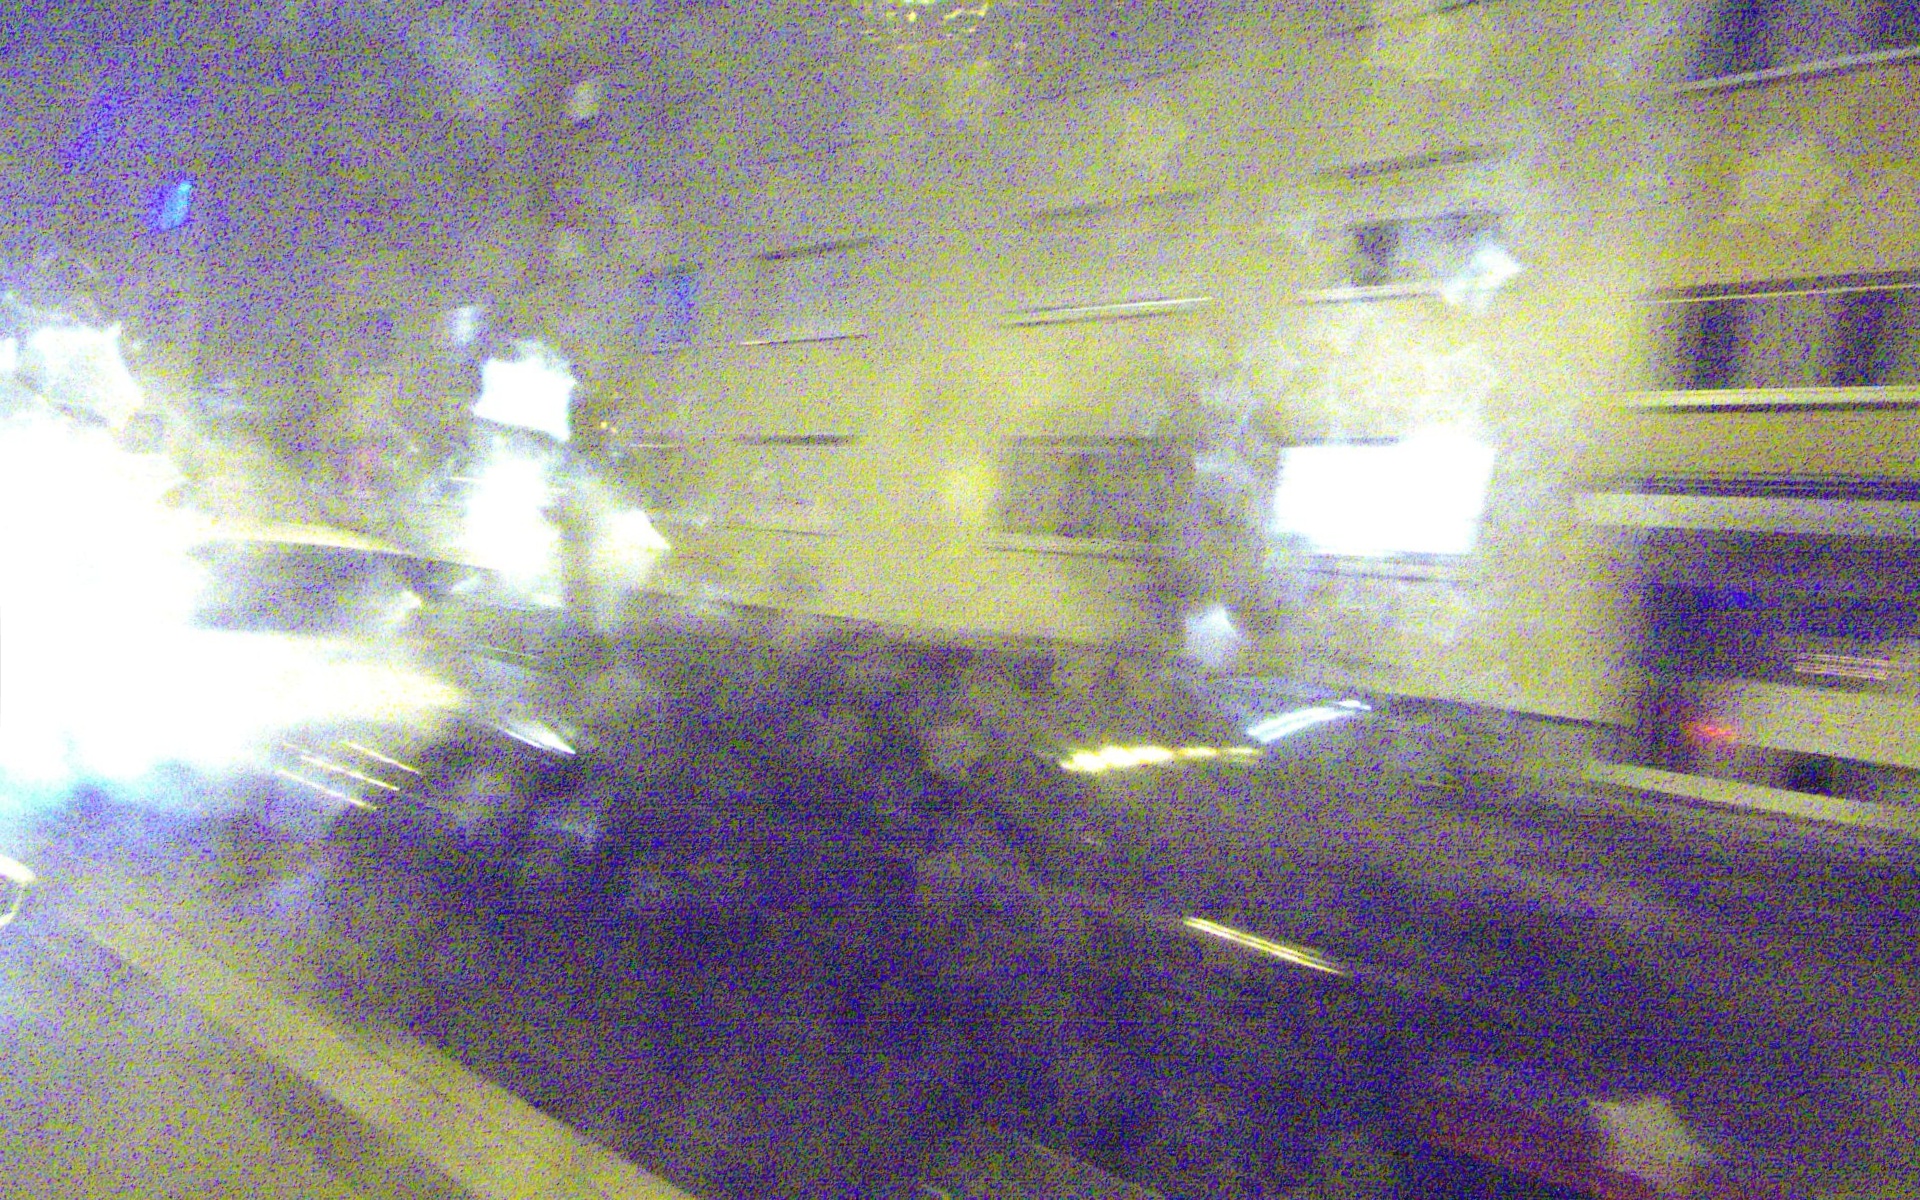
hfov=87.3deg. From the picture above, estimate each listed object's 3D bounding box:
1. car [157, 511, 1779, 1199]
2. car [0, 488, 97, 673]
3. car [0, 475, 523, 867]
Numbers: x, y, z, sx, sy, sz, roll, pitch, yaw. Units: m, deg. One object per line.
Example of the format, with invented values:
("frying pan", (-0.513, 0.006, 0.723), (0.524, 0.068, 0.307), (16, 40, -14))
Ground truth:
("car", (-0.406, 0.686, 3.143), (4.206, 1.466, 1.797), (7, 1, 30))
("car", (-8.555, -0.325, 7.950), (3.567, 1.323, 1.458), (7, 1, 30))
("car", (-4.663, 0.143, 5.779), (4.206, 1.507, 1.676), (7, 1, 30))
